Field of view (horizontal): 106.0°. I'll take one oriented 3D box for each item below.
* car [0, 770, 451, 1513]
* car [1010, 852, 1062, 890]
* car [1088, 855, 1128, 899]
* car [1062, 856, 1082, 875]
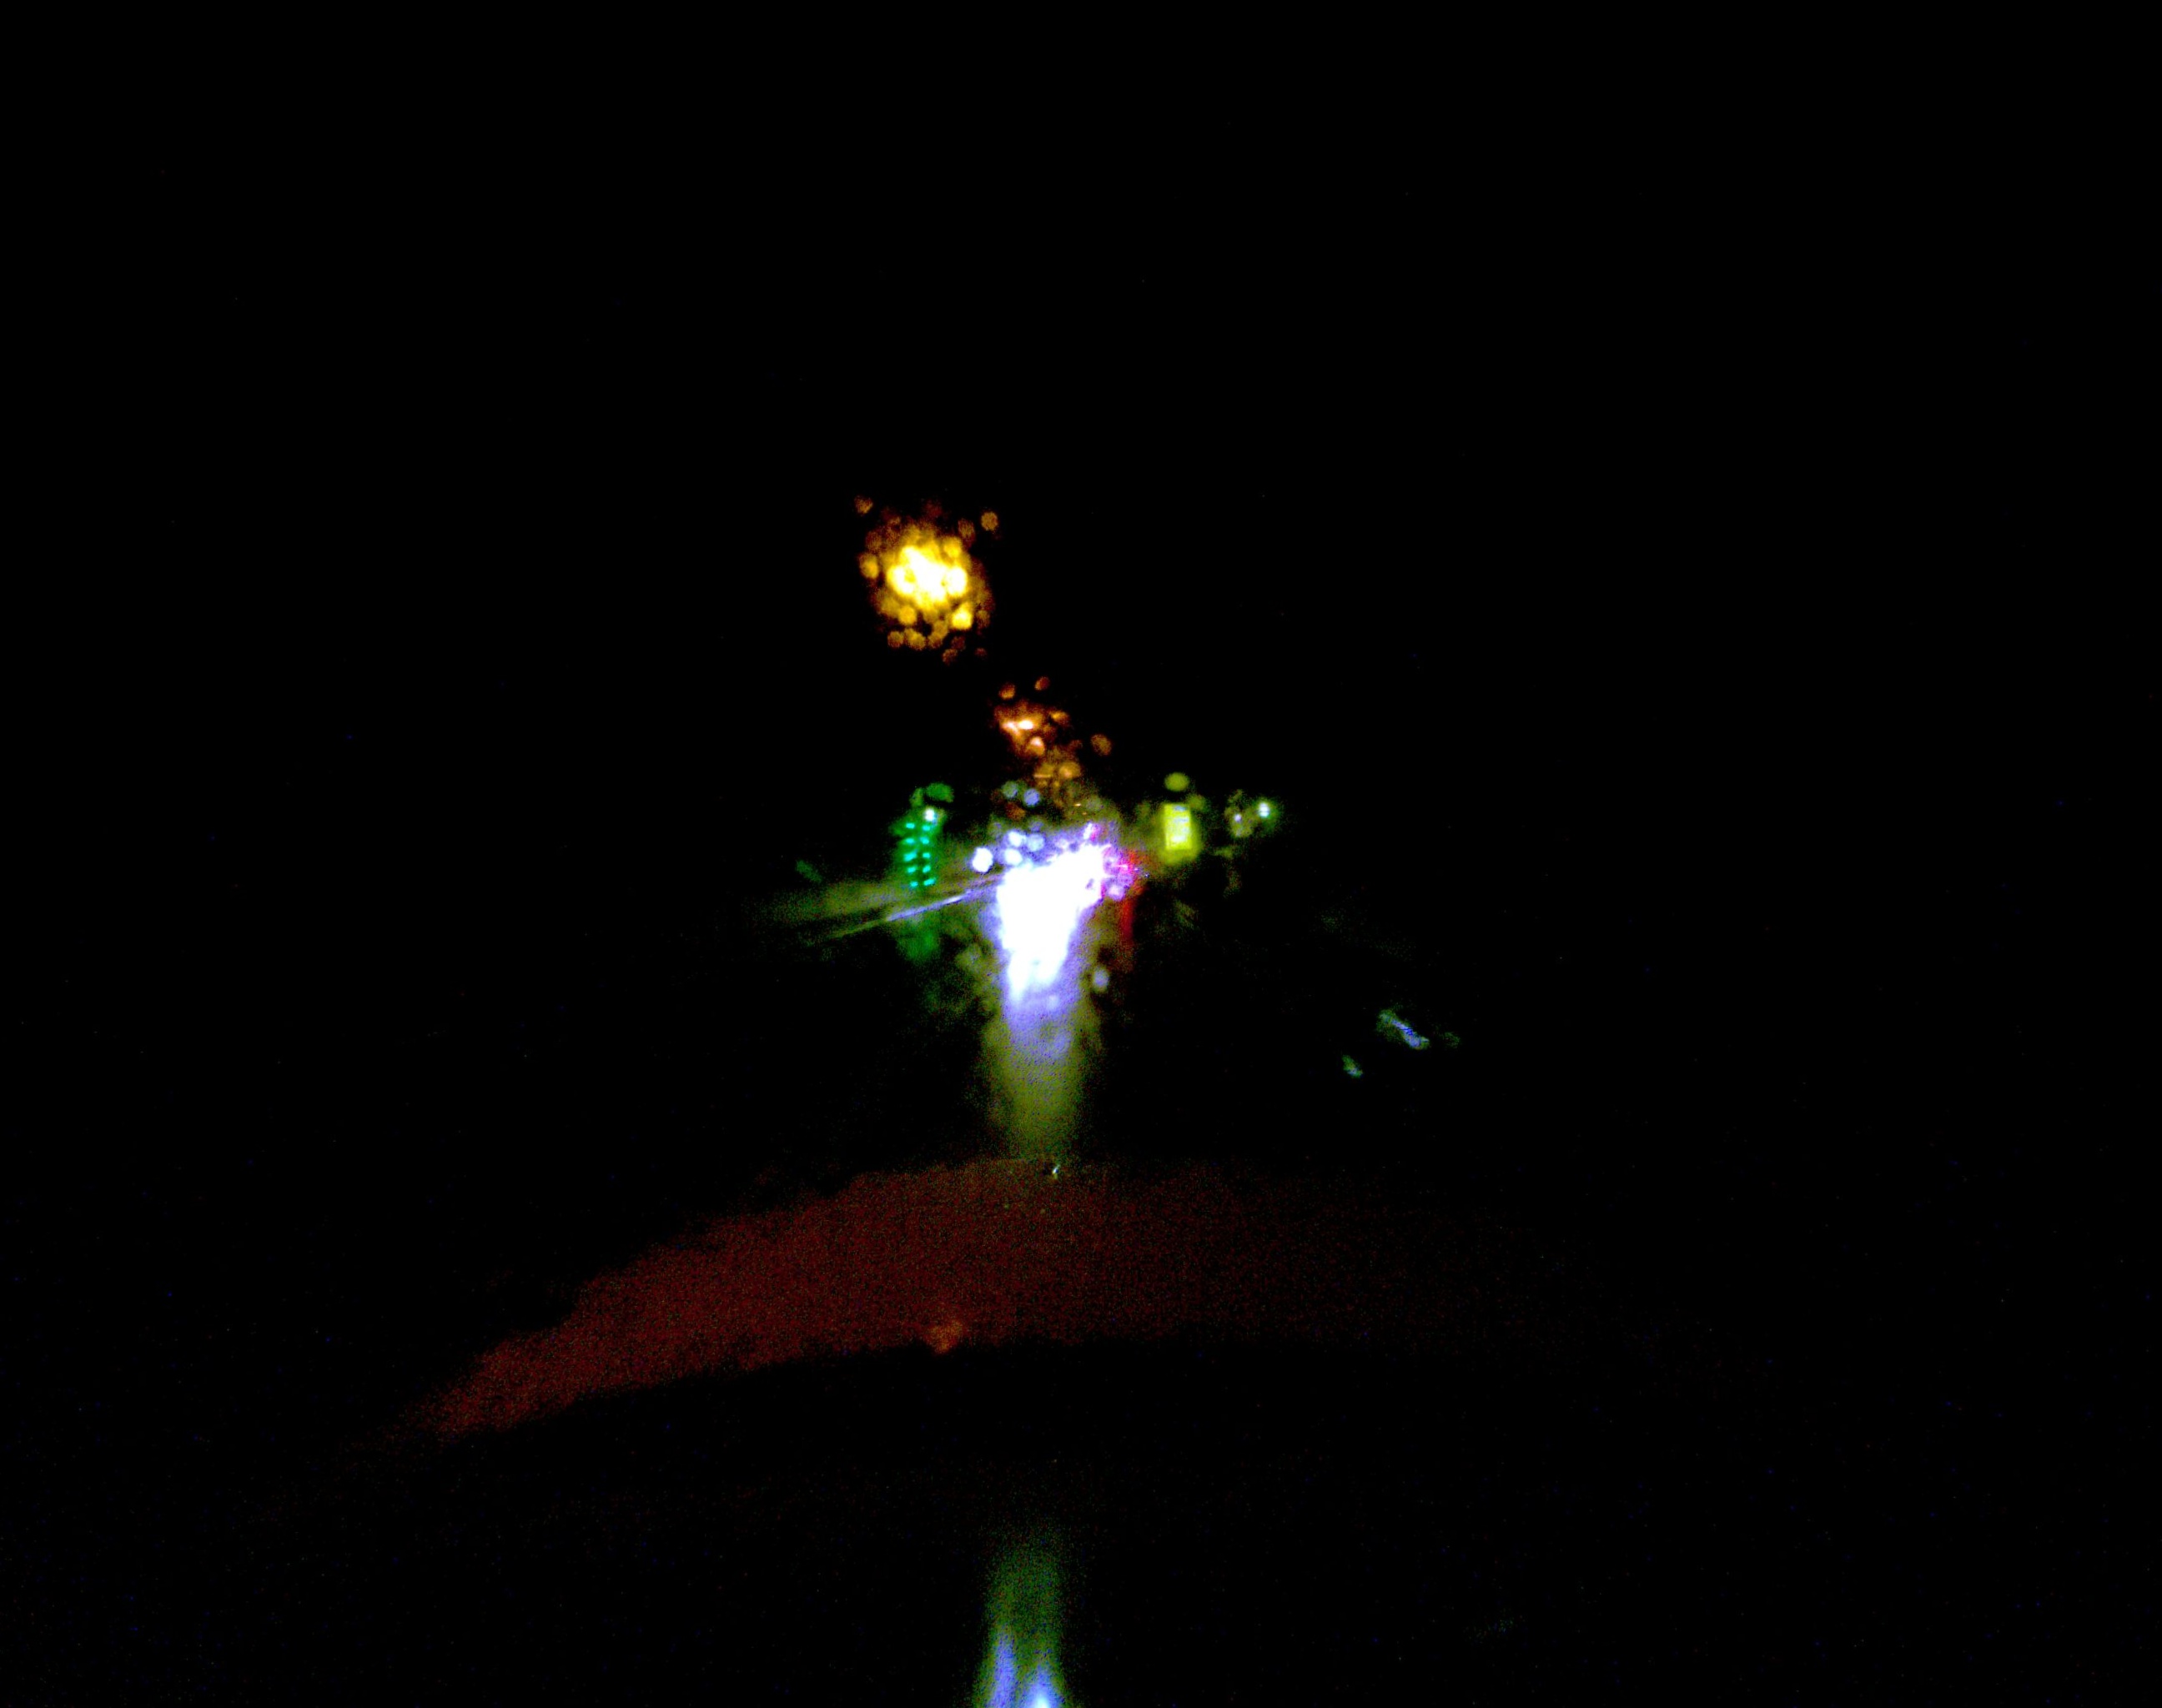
[{"bbox_3d":[-3.337,0.673,1.037,1.690,1.676,4.130,-2,0,2],"label":"car"},{"bbox_3d":[-1.869,0.678,34.930,1.742,1.480,4.478,-2,0,2],"label":"car"},{"bbox_3d":[1.211,0.979,35.994,1.629,1.758,4.148,-2,0,2],"label":"car"},{"bbox_3d":[-0.818,1.008,74.026,1.514,1.549,4.057,-2,1,2],"label":"car"}]
